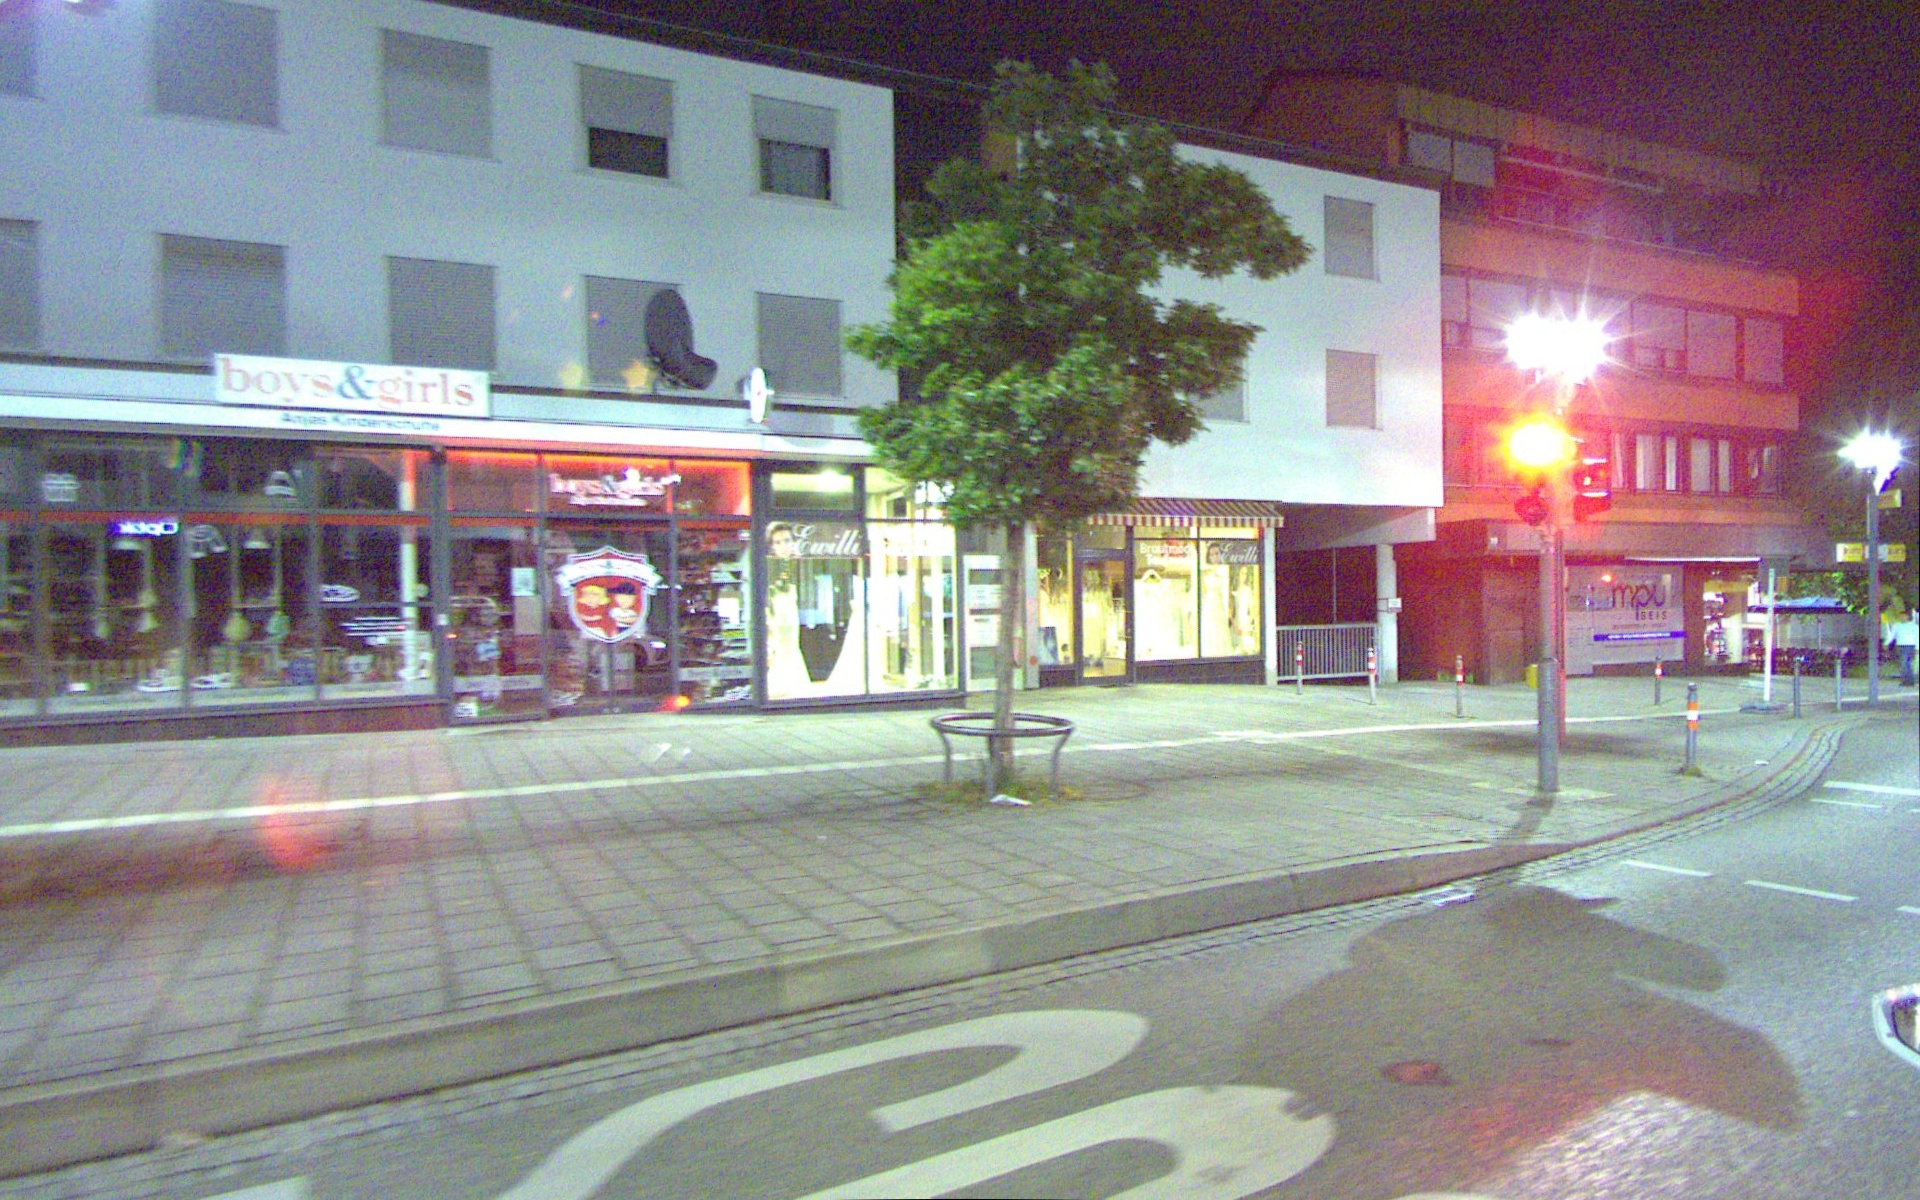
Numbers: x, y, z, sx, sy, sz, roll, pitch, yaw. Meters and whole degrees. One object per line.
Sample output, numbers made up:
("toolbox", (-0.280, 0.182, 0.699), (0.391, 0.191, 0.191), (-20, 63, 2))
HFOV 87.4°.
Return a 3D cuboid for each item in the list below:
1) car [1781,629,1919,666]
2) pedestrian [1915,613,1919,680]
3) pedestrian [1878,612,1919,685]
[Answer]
("car", (38.468, 2.029, 43.340), (1.624, 1.314, 4.392), (3, -1, -33))
("pedestrian", (26.212, 1.270, 26.895), (0.561, 1.819, 0.714), (3, -1, -23))
("pedestrian", (23.953, 1.225, 25.573), (0.564, 1.819, 0.711), (3, -1, -34))
